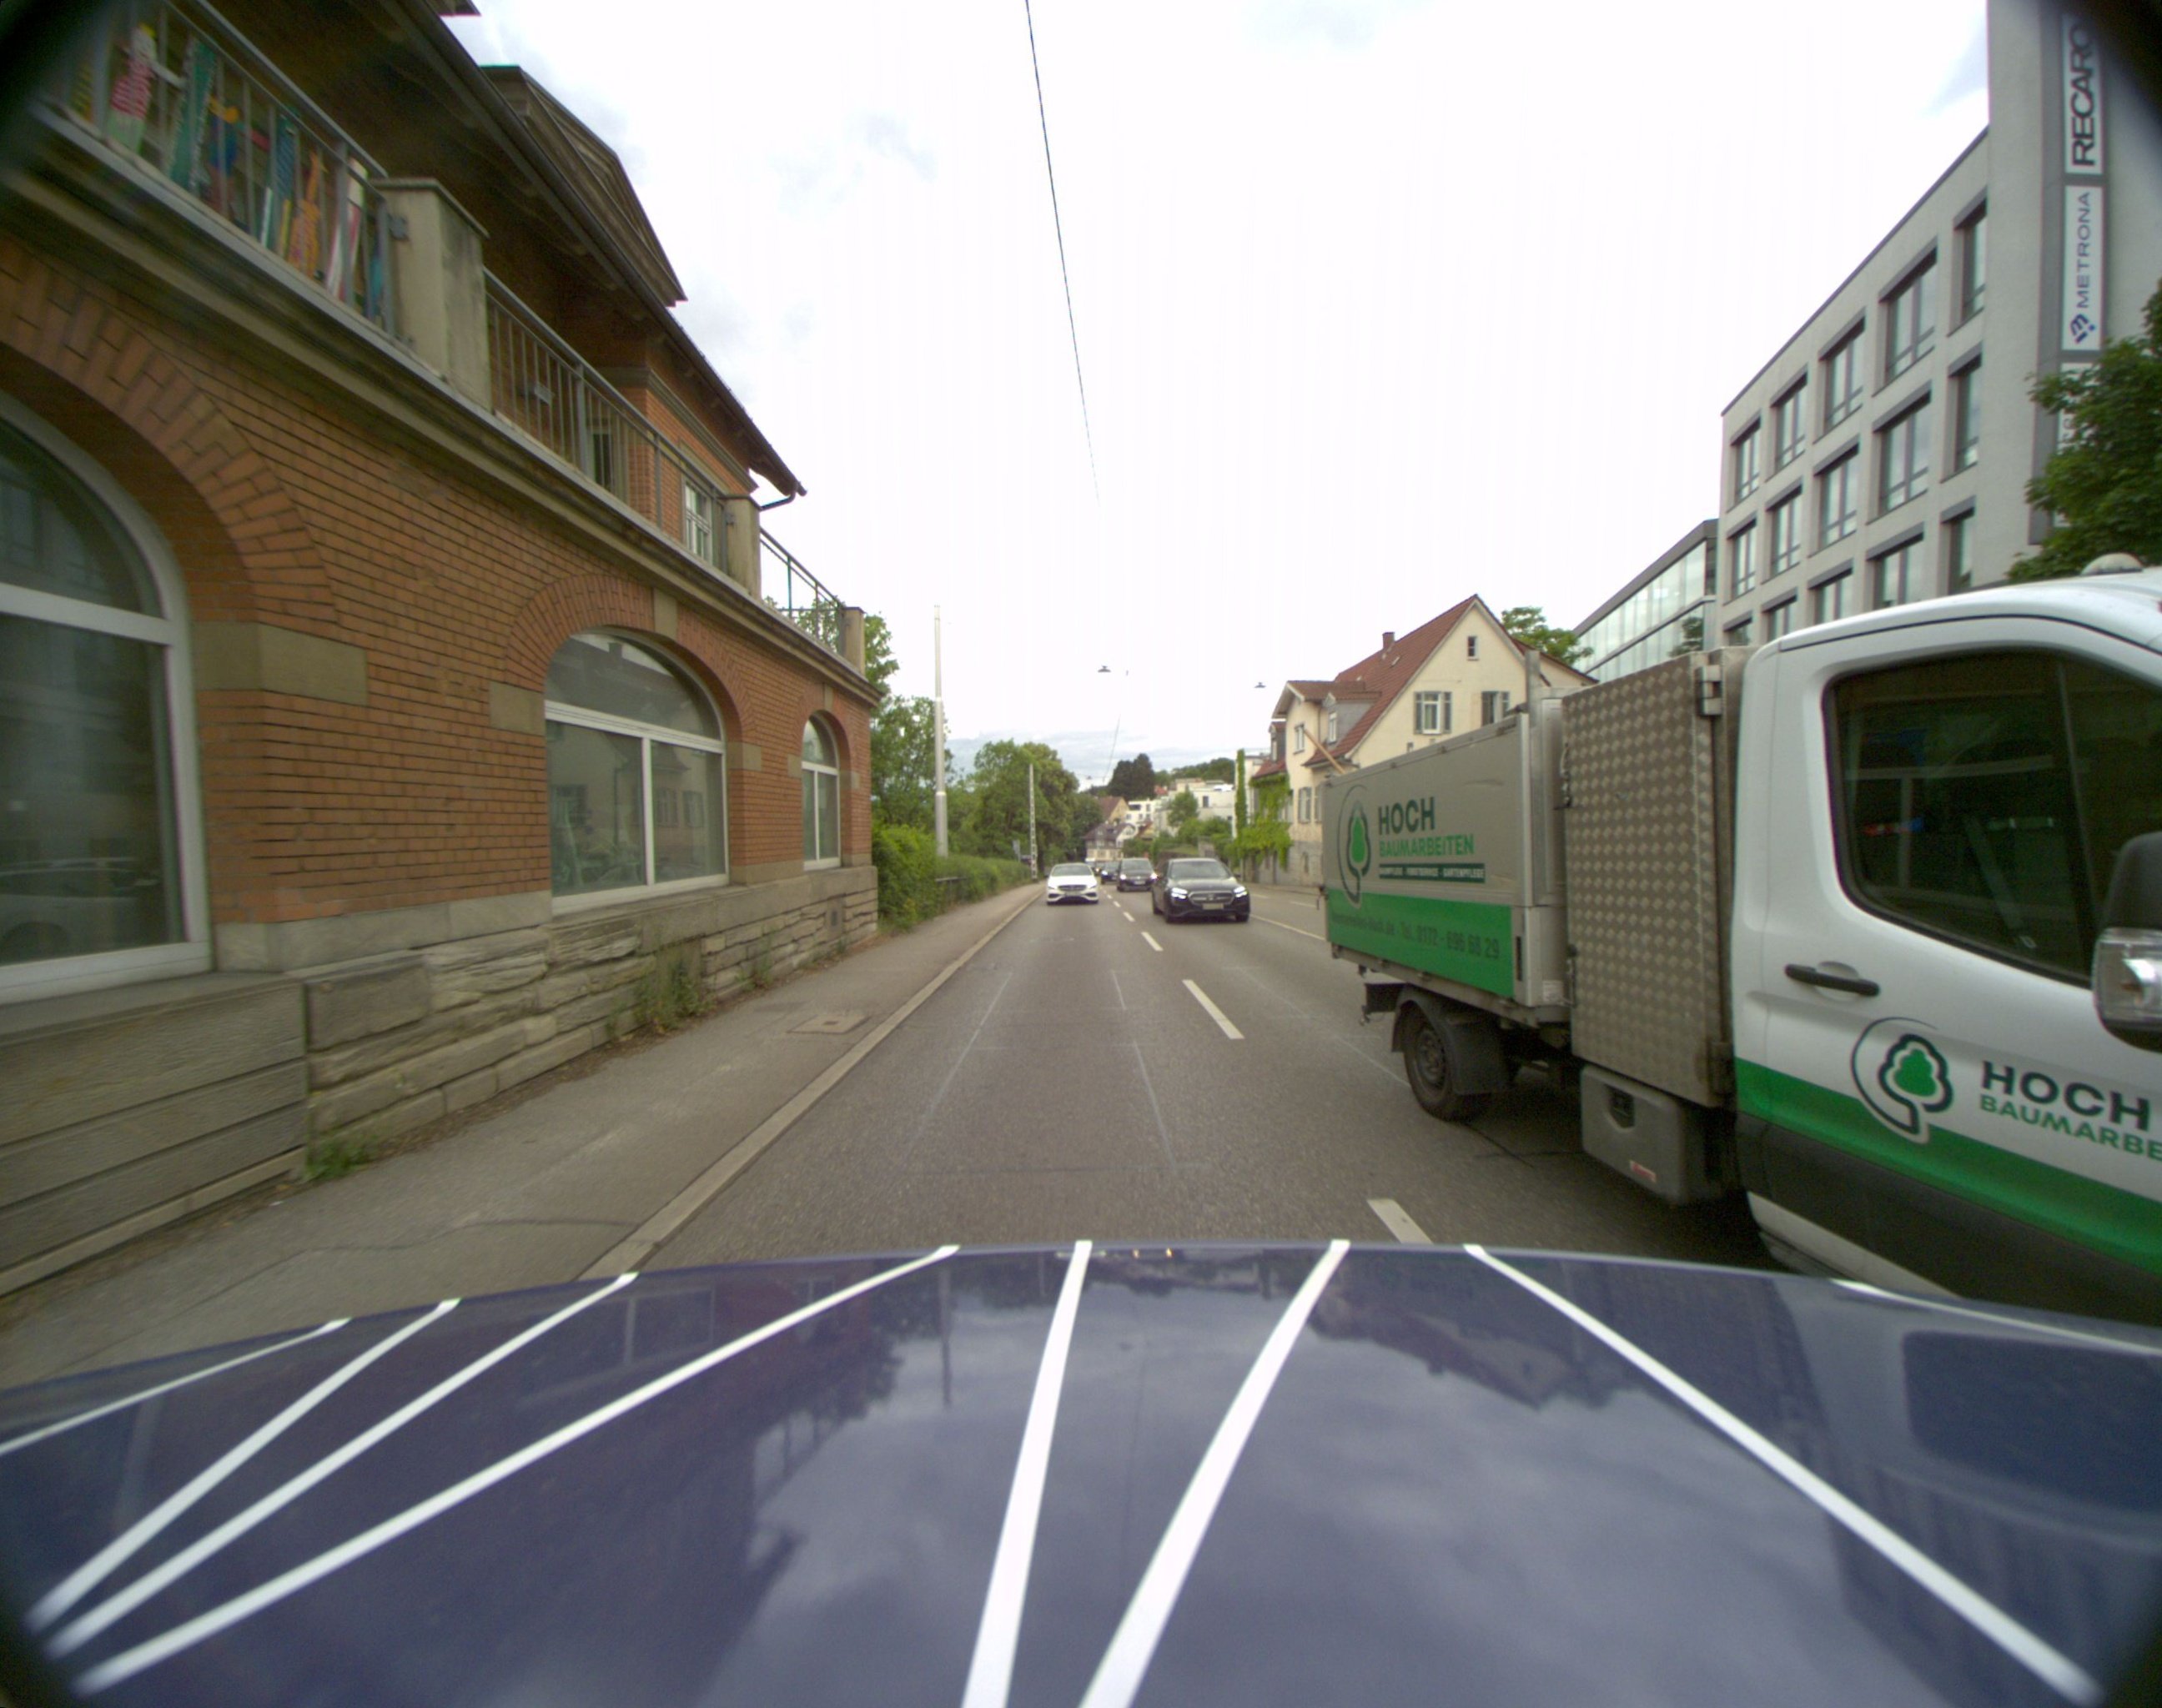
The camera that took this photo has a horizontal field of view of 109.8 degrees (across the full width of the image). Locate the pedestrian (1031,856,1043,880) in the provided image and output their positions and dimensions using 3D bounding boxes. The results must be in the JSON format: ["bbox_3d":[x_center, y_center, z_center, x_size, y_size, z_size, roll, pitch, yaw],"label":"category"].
[{"bbox_3d":[-3.405,1.091,58.702,0.814,1.873,0.949,0,0,4],"label":"pedestrian"}]

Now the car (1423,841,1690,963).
[{"bbox_3d":[8.166,0.717,13.701,1.874,1.779,4.653,2,0,0],"label":"car"}]

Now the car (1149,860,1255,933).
[{"bbox_3d":[2.810,0.937,18.614,1.878,1.521,4.335,-1,0,0],"label":"car"}]

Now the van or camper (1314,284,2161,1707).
[{"bbox_3d":[2.963,0.311,2.512,2.349,2.647,5.962,-2,2,-1],"label":"van or camper"}]

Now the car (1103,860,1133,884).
[{"bbox_3d":[2.543,1.223,52.547,1.878,1.521,4.000,-1,0,0],"label":"car"}]

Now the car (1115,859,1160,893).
[{"bbox_3d":[2.728,1.036,37.235,1.878,1.521,4.000,-1,0,0],"label":"car"}]

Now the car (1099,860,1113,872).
[{"bbox_3d":[3.044,1.473,94.190,1.680,1.426,3.713,-1,0,1],"label":"car"}]

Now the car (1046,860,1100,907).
[{"bbox_3d":[-0.264,1.010,27.493,1.809,1.521,4.000,-1,0,0],"label":"car"}]
